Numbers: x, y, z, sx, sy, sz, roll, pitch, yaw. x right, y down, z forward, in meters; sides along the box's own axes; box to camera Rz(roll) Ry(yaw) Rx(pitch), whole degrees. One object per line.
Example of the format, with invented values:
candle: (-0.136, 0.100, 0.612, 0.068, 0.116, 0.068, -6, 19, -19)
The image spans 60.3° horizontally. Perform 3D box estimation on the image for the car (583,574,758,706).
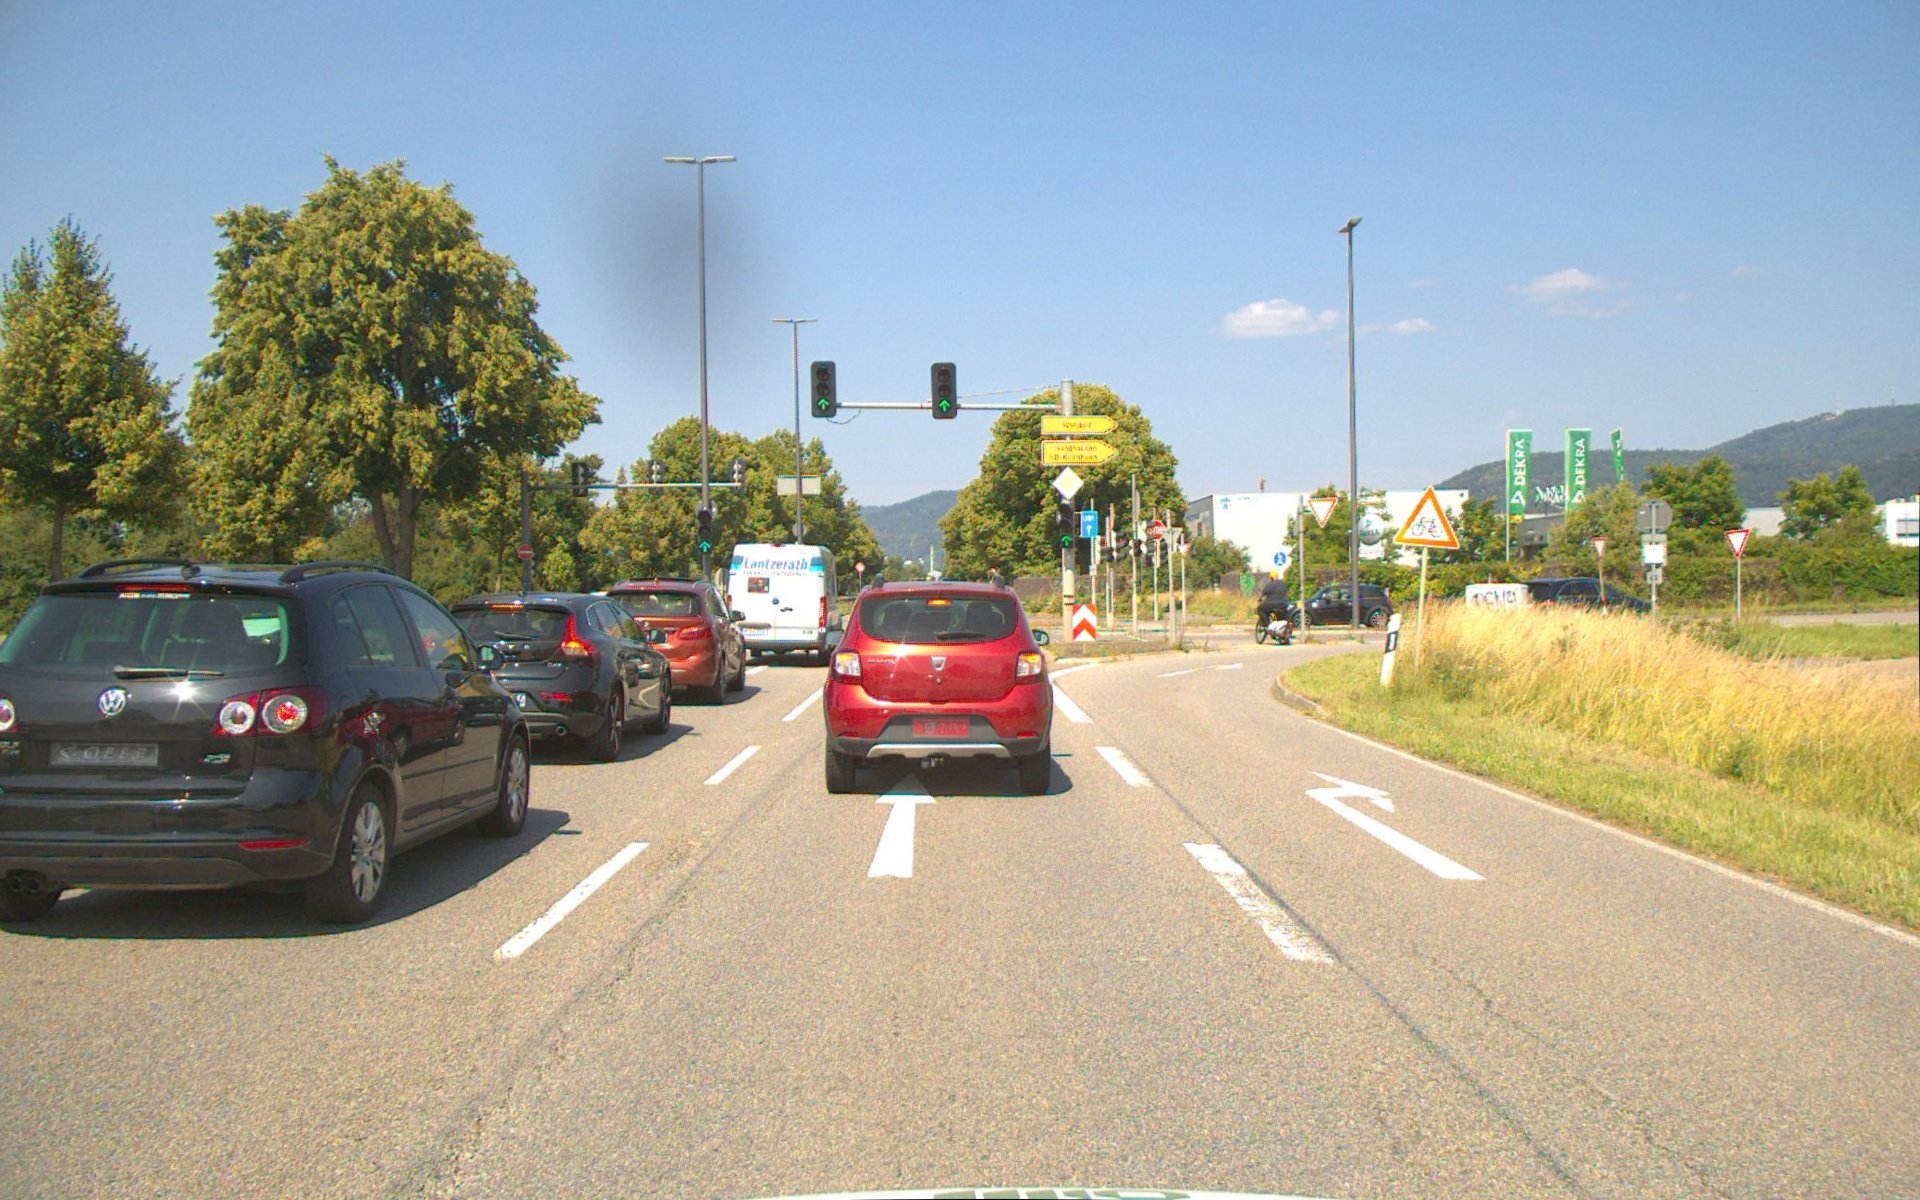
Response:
car: (-3.833, 0.476, 22.470, 1.689, 1.628, 3.955, 0, 0, 0)

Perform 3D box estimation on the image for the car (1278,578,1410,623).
car: (12.258, 0.005, 52.957, 3.902, 1.350, 1.808, -1, 0, 6)

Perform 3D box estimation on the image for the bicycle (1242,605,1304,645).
bicycle: (8.054, 0.633, 42.701, 0.747, 0.931, 2.775, -1, 1, -7)

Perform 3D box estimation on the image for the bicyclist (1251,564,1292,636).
bicyclist: (8.028, -0.003, 42.670, 0.787, 1.802, 0.807, -1, 0, -8)

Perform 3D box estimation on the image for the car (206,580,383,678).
car: (-14.438, 0.559, 36.206, 1.953, 1.964, 5.014, -1, 1, -2)

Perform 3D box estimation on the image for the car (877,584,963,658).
car: (-0.808, 0.405, 35.393, 1.713, 1.483, 3.677, 0, 1, 1)

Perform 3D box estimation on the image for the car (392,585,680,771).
car: (-3.783, 0.617, 15.437, 1.667, 1.467, 3.955, 1, 1, 0)

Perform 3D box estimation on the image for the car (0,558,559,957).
car: (-3.409, 0.612, 8.620, 1.688, 1.603, 3.892, 0, 1, 0)

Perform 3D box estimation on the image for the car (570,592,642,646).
car: (-11.561, 0.583, 54.262, 1.711, 1.667, 4.132, -1, 0, -4)

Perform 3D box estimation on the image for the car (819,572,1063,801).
car: (-0.110, 0.596, 13.505, 1.713, 1.603, 3.677, 0, 0, 1)

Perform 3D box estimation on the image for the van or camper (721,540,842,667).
van or camper: (-3.502, 0.053, 33.240, 2.136, 2.343, 4.824, 0, 0, -3)

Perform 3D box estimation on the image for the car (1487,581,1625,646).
car: (16.076, 0.331, 44.514, 1.966, 1.645, 4.310, 1, 0, 44)
